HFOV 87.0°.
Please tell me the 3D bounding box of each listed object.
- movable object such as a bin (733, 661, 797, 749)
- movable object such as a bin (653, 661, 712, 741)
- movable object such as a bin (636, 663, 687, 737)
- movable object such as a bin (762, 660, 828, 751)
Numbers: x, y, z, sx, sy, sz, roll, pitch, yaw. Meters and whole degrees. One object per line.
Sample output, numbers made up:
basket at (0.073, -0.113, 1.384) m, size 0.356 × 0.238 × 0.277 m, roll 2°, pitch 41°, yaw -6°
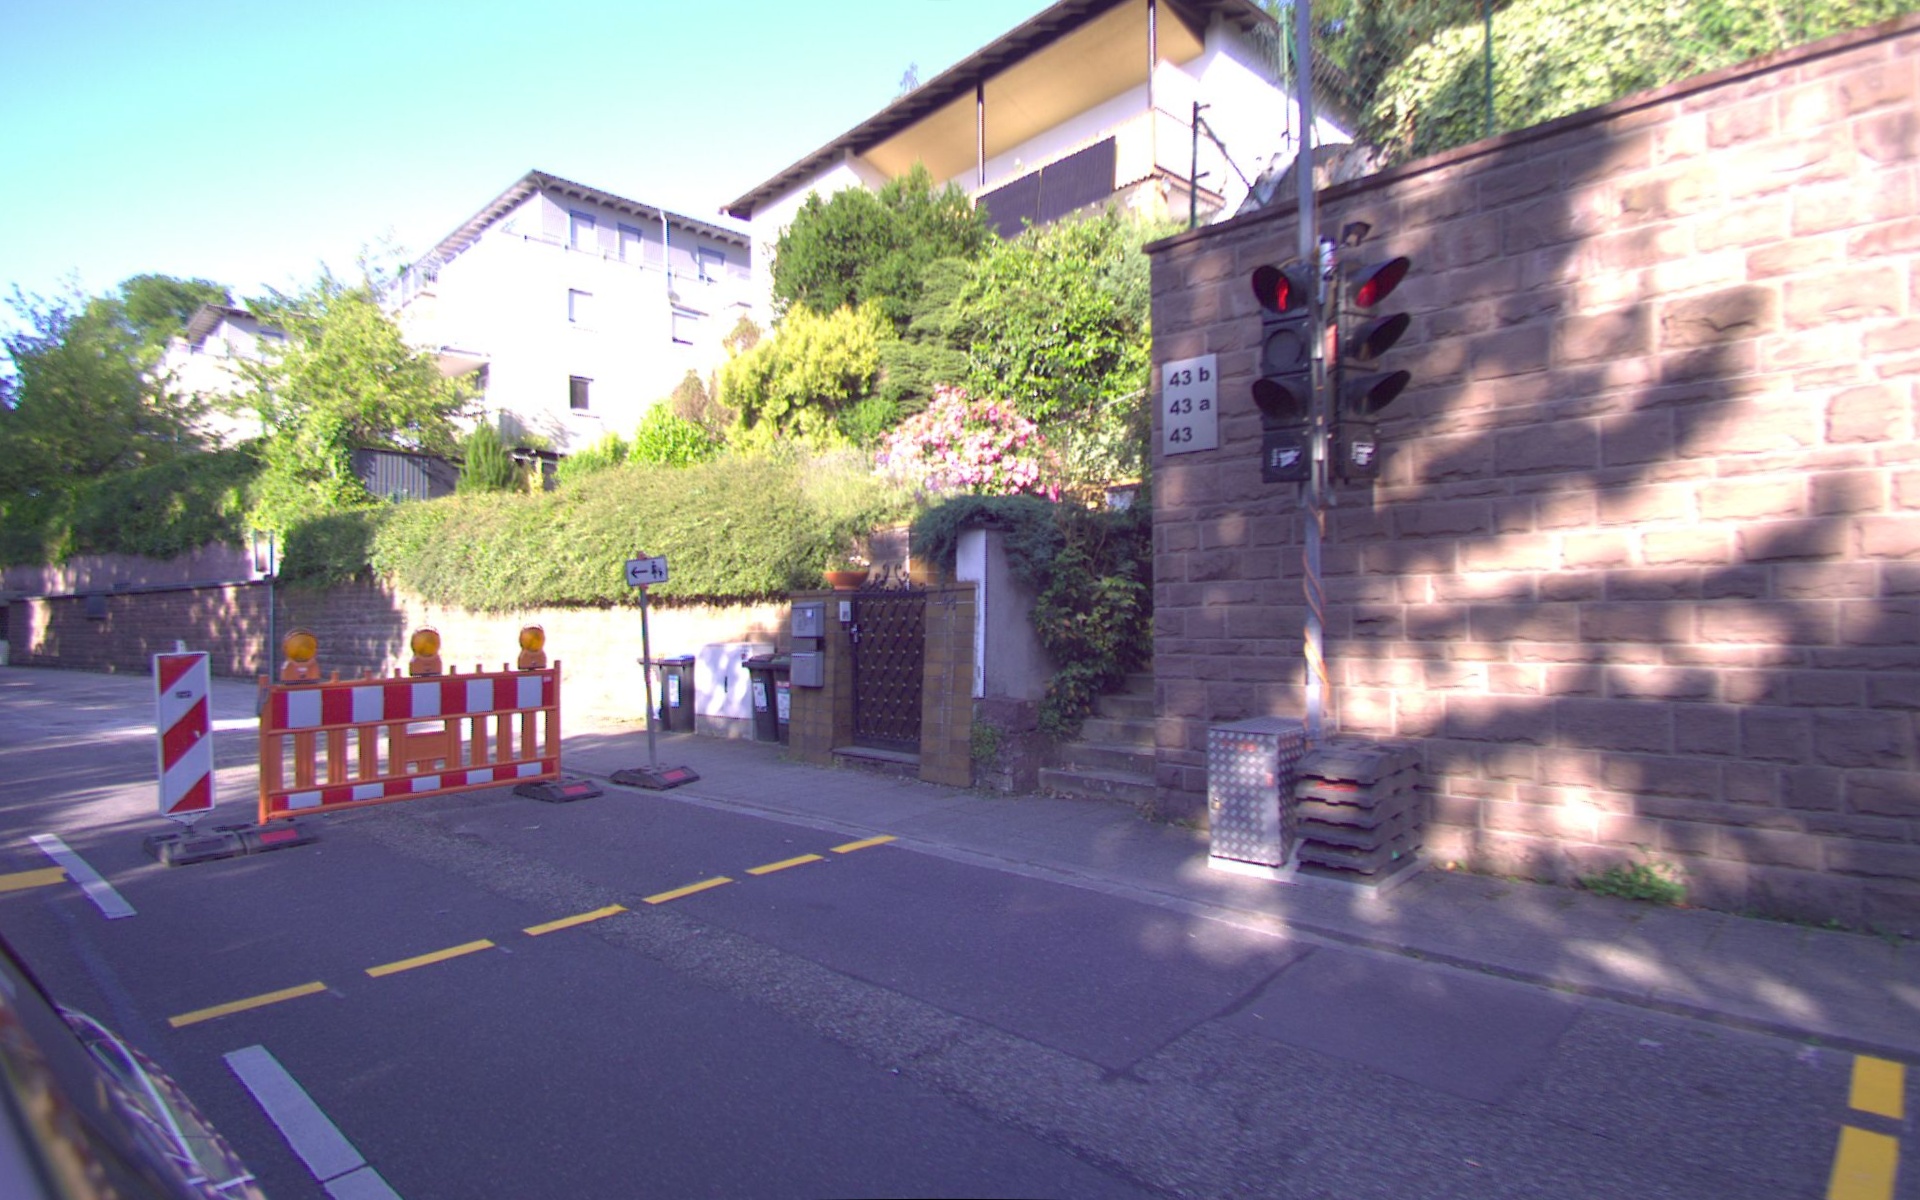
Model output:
movable object such as a bin at (-2.106, 1.118, 10.920) m, size 0.500 × 0.890 × 0.451 m, roll -2°, pitch -1°, yaw 42°
movable object such as a bin at (-3.275, 1.177, 11.945) m, size 0.500 × 0.890 × 0.451 m, roll -2°, pitch -1°, yaw 42°
movable object such as a bin at (-3.619, 1.201, 12.265) m, size 0.392 × 0.840 × 0.449 m, roll -2°, pitch -2°, yaw 42°
movable object such as a bin at (-1.720, 1.088, 10.563) m, size 0.500 × 0.890 × 0.451 m, roll -2°, pitch -1°, yaw 42°
